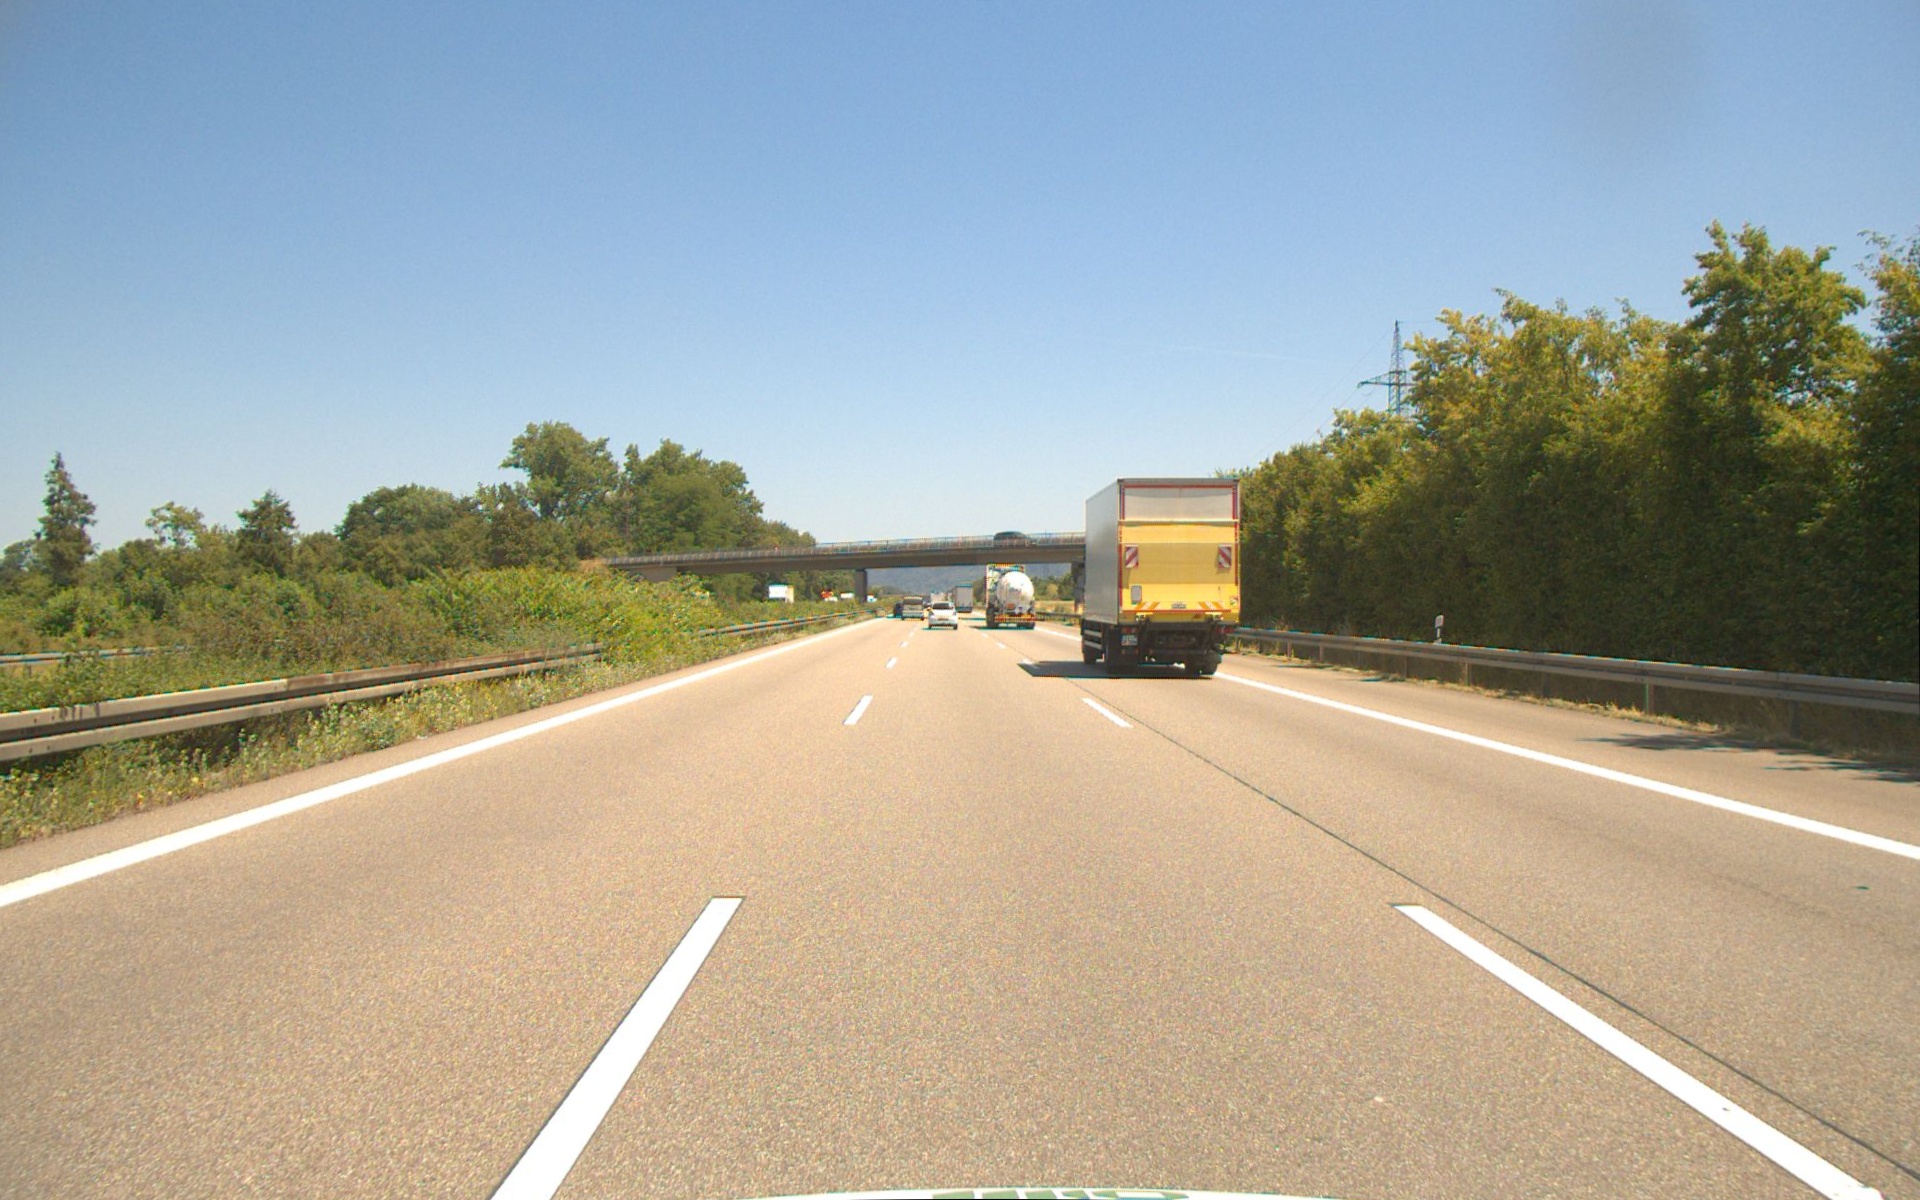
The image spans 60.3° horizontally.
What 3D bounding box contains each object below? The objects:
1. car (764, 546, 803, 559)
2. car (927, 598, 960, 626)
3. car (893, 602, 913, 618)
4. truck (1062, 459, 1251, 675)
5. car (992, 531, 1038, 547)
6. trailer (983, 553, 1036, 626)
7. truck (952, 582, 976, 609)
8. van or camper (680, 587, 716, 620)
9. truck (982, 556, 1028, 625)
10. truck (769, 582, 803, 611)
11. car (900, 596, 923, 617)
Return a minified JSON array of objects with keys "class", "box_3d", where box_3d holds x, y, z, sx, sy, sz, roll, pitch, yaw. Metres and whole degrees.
[{"class":"car","box_3d":[-19.214,-5.176,180.086,3.917,1.411,1.836,1,0,34]},{"class":"car","box_3d":[-0.916,0.662,93.041,1.770,1.494,3.999,1,0,-1]},{"class":"car","box_3d":[-5.477,0.959,160.151,1.798,1.411,3.999,1,0,-1]},{"class":"truck","box_3d":[4.273,-0.670,38.529,2.874,4.273,10.679,1,0,-1]},{"class":"car","box_3d":[5.072,-5.627,153.246,3.921,1.411,1.834,1,0,37]},{"class":"trailer","box_3d":[2.893,-0.592,99.759,2.528,4.145,11.100,1,0,-1]},{"class":"truck","box_3d":[0.582,-0.709,249.814,3.199,3.925,11.628,1,0,-1]},{"class":"van or camper","box_3d":[-21.517,0.295,136.097,1.953,2.589,6.297,1,0,-1]},{"class":"truck","box_3d":[2.792,-0.596,104.531,2.521,4.143,6.391,1,0,-1]},{"class":"truck","box_3d":[-22.248,-0.471,212.356,2.817,3.559,10.738,1,0,2]},{"class":"car","box_3d":[-4.006,0.548,137.668,1.814,1.661,3.999,1,0,-1]}]
